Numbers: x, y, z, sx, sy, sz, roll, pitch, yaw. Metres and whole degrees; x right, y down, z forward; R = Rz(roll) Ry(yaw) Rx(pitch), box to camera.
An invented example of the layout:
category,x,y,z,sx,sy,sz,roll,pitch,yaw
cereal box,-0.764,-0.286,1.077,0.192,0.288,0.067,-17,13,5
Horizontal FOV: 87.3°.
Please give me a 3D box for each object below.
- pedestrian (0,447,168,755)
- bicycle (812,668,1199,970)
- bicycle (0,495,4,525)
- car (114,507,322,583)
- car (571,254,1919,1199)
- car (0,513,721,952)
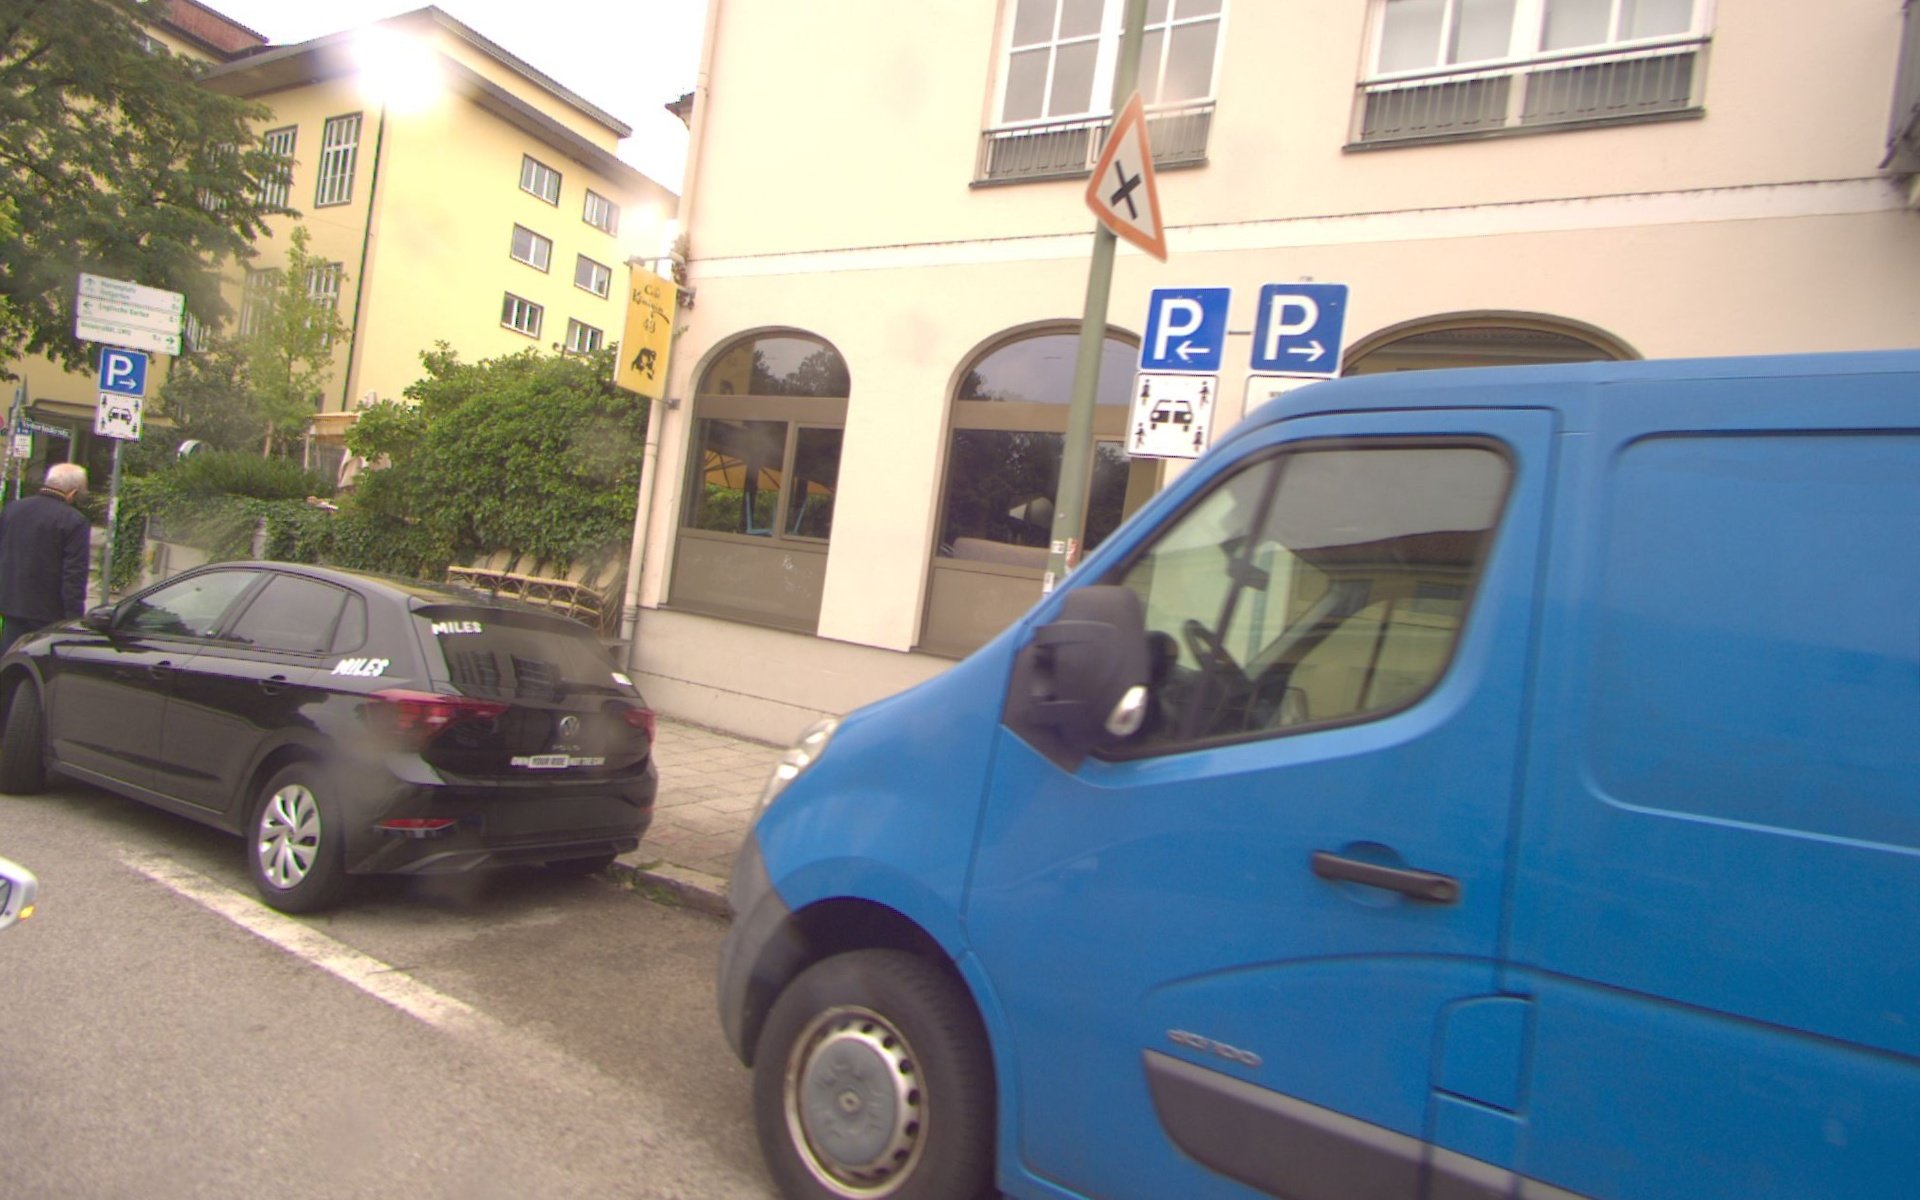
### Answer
category,x,y,z,sx,sy,sz,roll,pitch,yaw
pedestrian,-6.048,-0.015,6.496,0.919,1.821,0.956,7,-1,-8
bicycle,0.240,1.085,5.359,1.842,1.161,0.621,8,2,17
bicycle,-25.589,-2.224,25.400,0.586,1.215,1.924,8,-1,33
car,-20.405,-1.475,27.868,1.670,1.463,4.252,6,-2,32
car,1.732,0.727,2.479,5.159,2.255,2.086,5,-6,32
car,-3.612,0.517,5.511,4.229,1.403,1.685,7,-5,26
